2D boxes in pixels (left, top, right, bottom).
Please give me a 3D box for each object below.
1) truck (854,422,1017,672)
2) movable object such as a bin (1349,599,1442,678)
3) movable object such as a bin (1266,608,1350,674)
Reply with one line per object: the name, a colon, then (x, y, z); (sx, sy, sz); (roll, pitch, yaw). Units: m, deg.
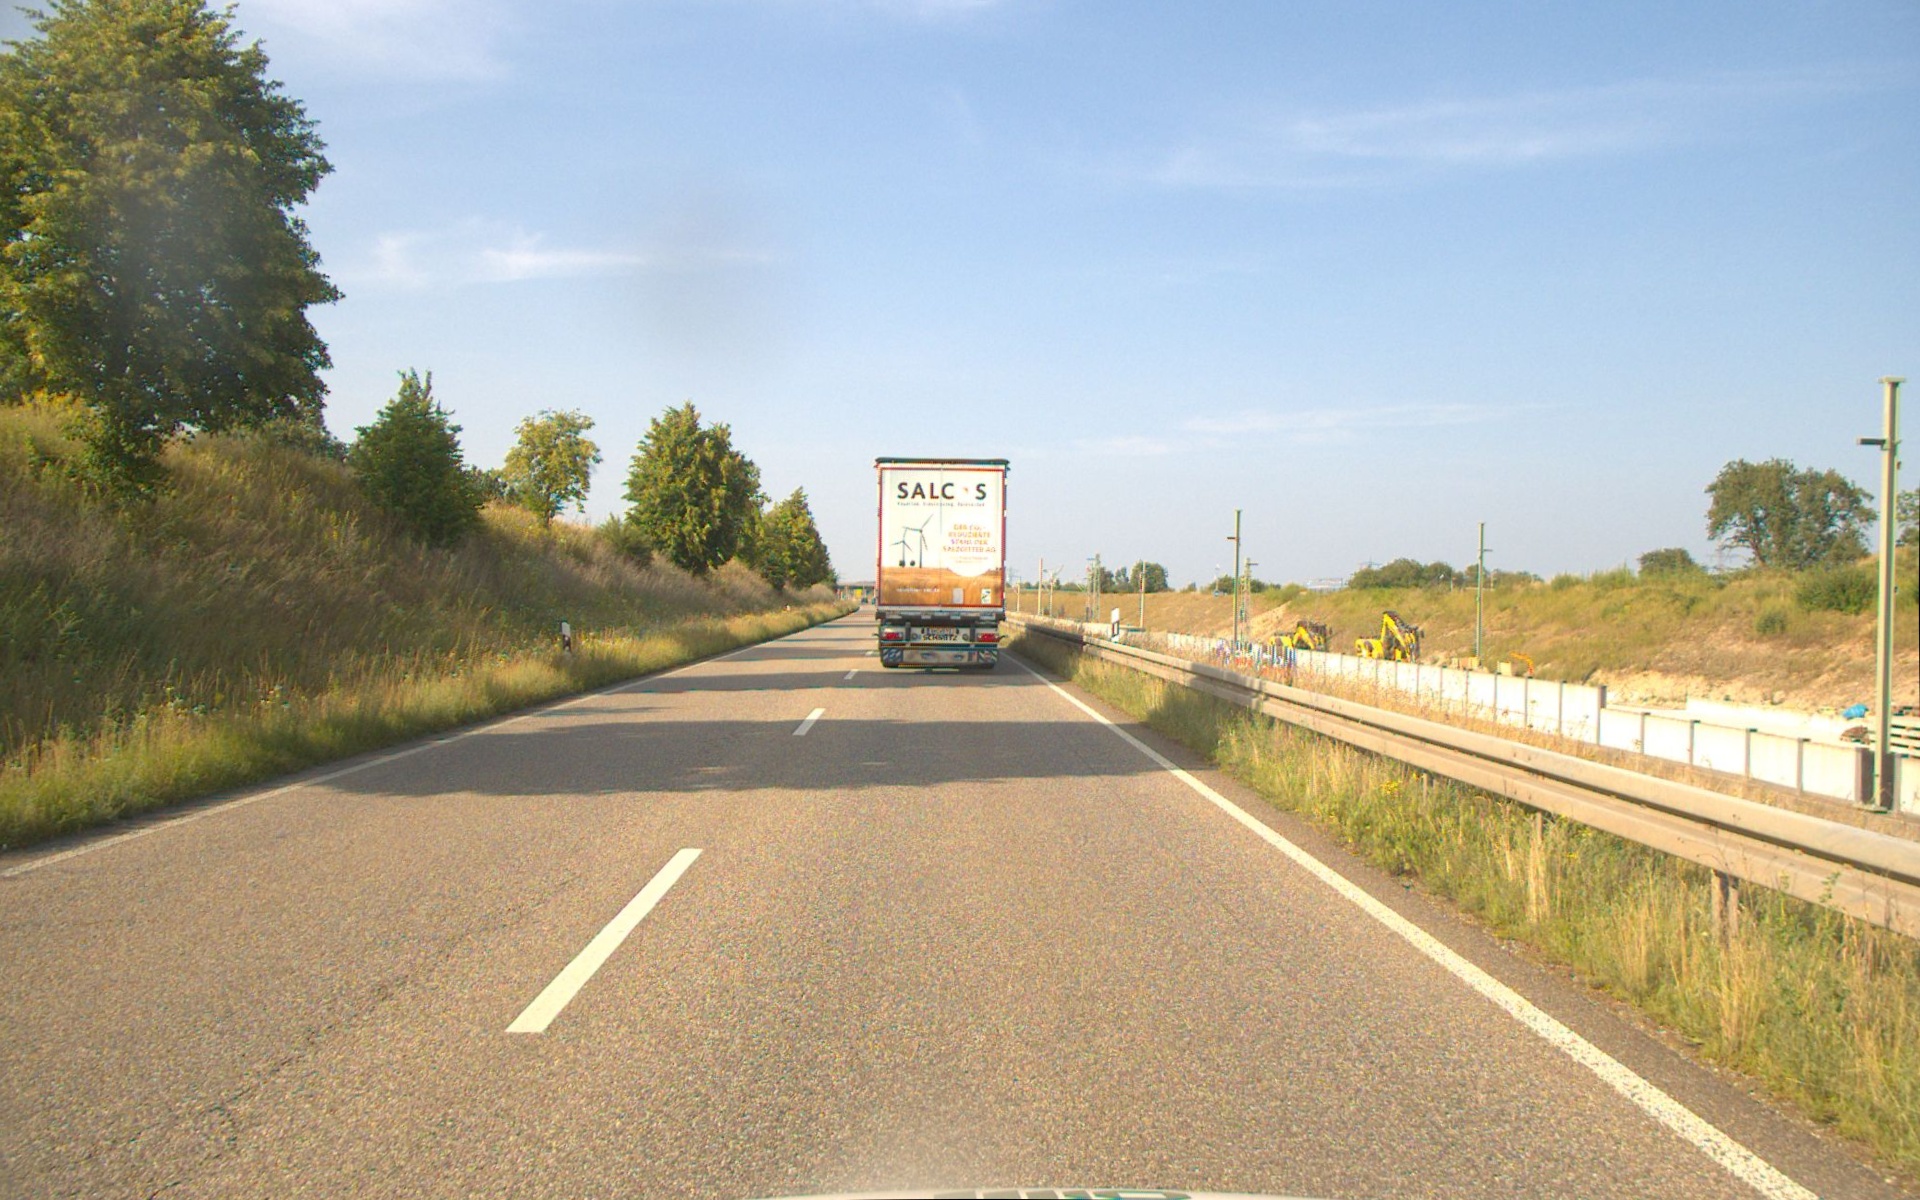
truck: (-0.529, -1.029, 35.752); (3.089, 4.770, 8.440); (0, 0, -1)
movable object such as a bin: (23.166, 1.962, 88.408); (2.740, 3.954, 7.535); (1, 0, -2)
movable object such as a bin: (18.739, 2.142, 89.471); (2.569, 3.296, 8.070); (1, 0, -2)
